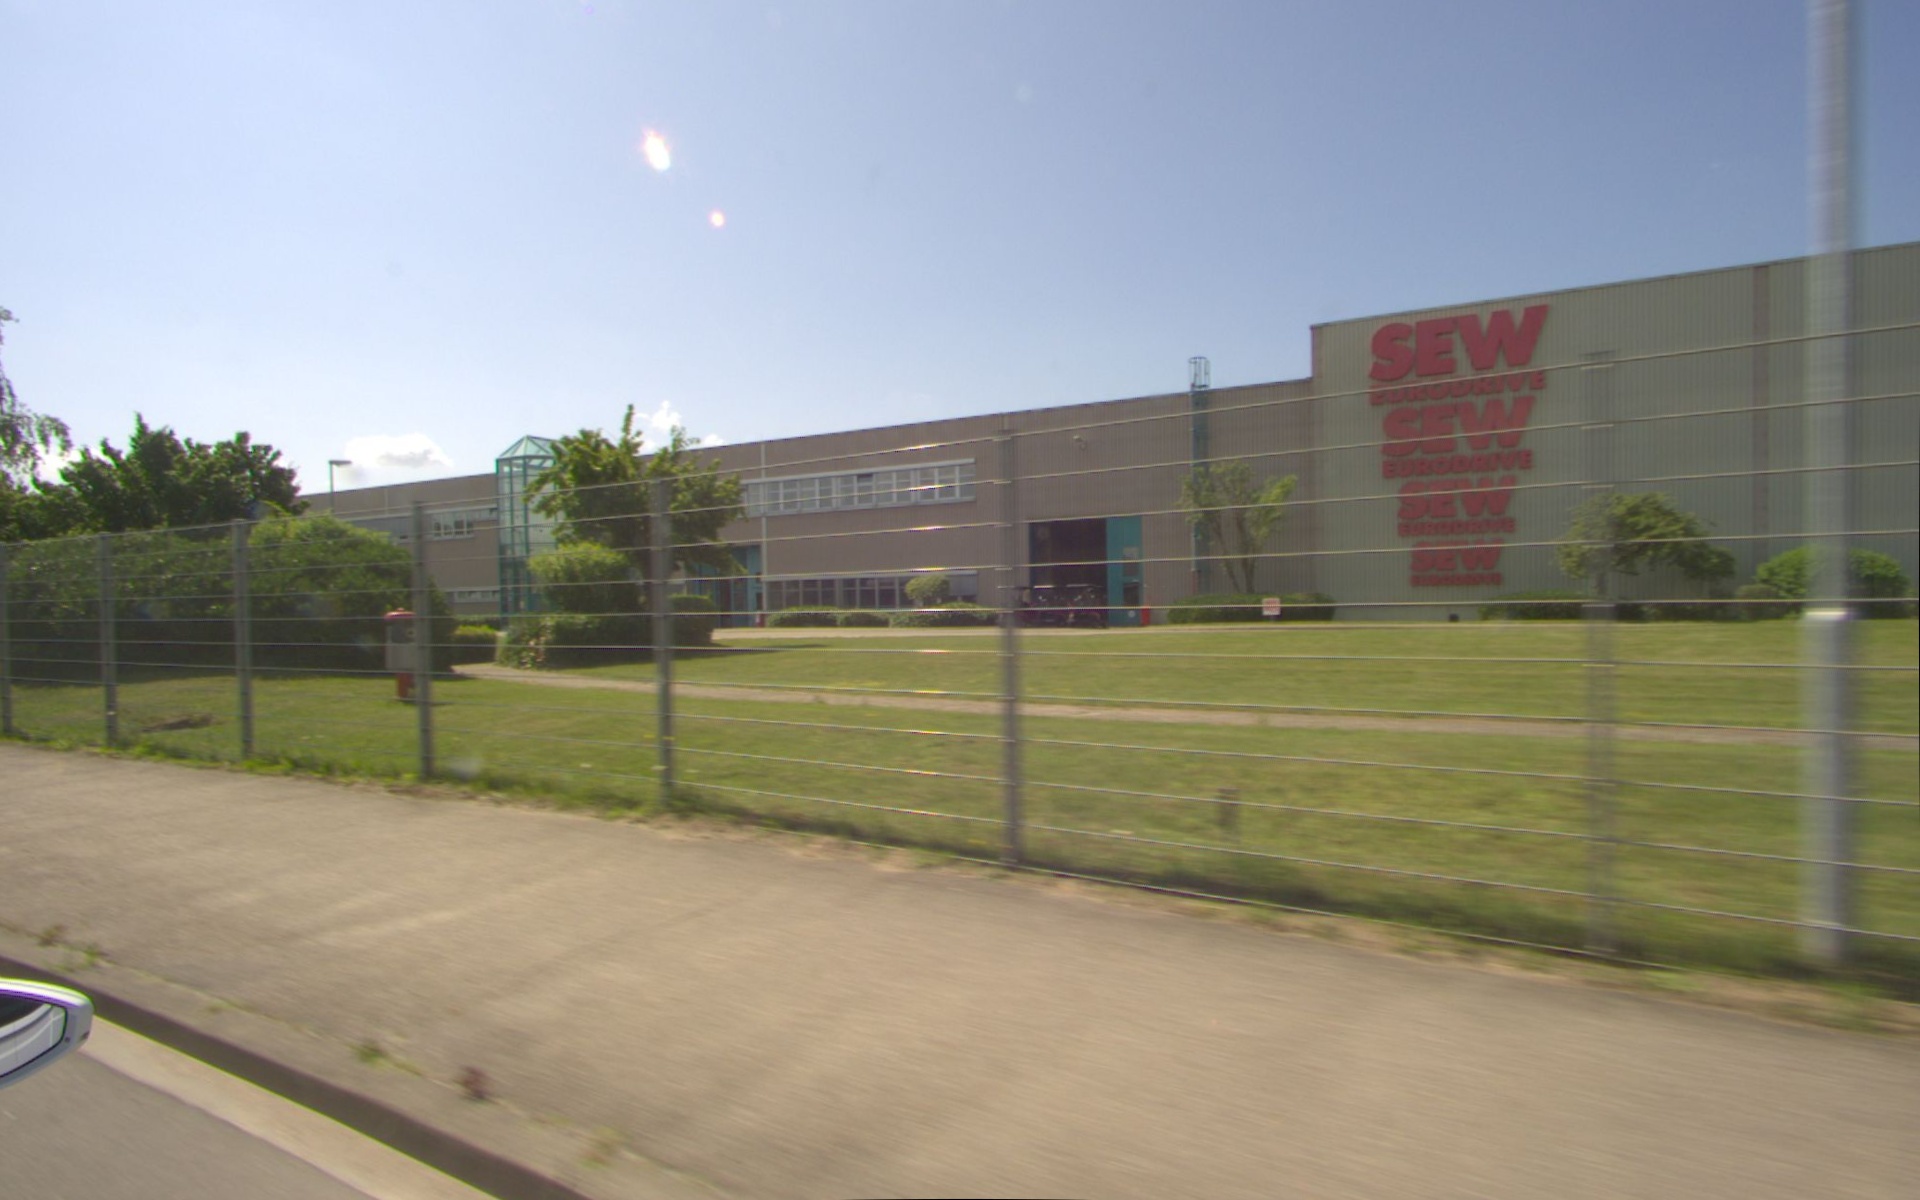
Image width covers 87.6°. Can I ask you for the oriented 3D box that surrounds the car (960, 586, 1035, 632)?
[{"bbox_3d":[1.801,0.394,46.518,1.940,2.040,4.156,-1,0,27],"label":"car"}]

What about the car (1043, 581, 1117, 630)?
[{"bbox_3d":[5.390,0.238,44.519,1.940,2.040,4.156,-1,0,27],"label":"car"}]

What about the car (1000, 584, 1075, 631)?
[{"bbox_3d":[3.587,0.314,45.459,1.940,2.040,4.156,-1,0,27],"label":"car"}]
